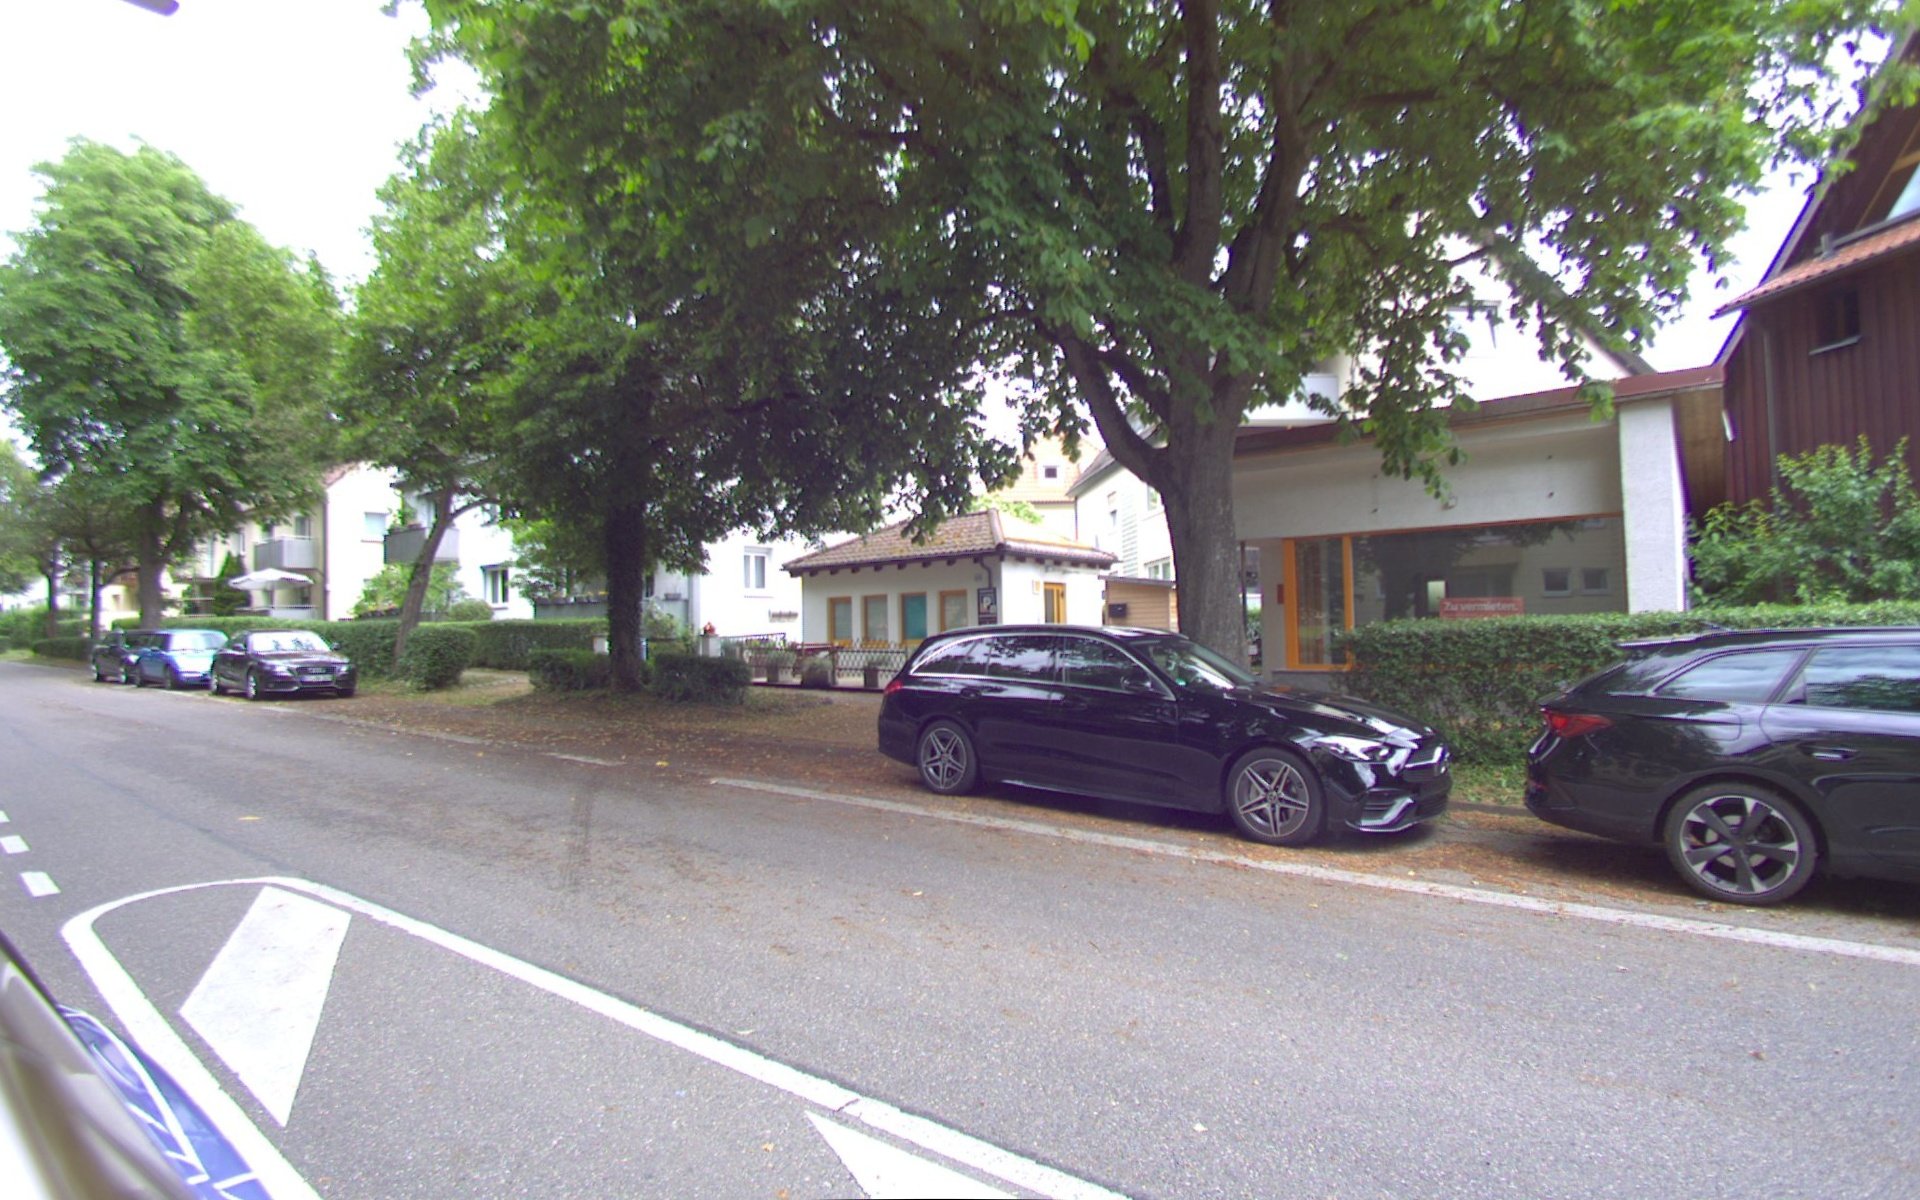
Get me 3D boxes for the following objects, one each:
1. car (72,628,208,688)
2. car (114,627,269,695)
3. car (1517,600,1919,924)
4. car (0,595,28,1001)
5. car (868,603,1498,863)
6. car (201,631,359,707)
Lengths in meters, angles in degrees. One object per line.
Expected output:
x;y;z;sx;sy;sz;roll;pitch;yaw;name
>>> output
-22.605;1.558;27.842;4.558;1.545;1.866;-2;-3;37;car
-18.916;1.460;24.850;4.558;1.512;1.866;-2;-3;37;car
5.452;0.757;4.980;4.536;1.497;1.674;-2;-3;38;car
-5.920;0.775;4.588;4.612;1.511;1.973;-2;-3;41;car
1.557;0.865;8.192;4.612;1.511;1.973;-2;-3;41;car
-14.221;1.374;21.084;4.169;1.414;1.713;-2;-3;41;car
